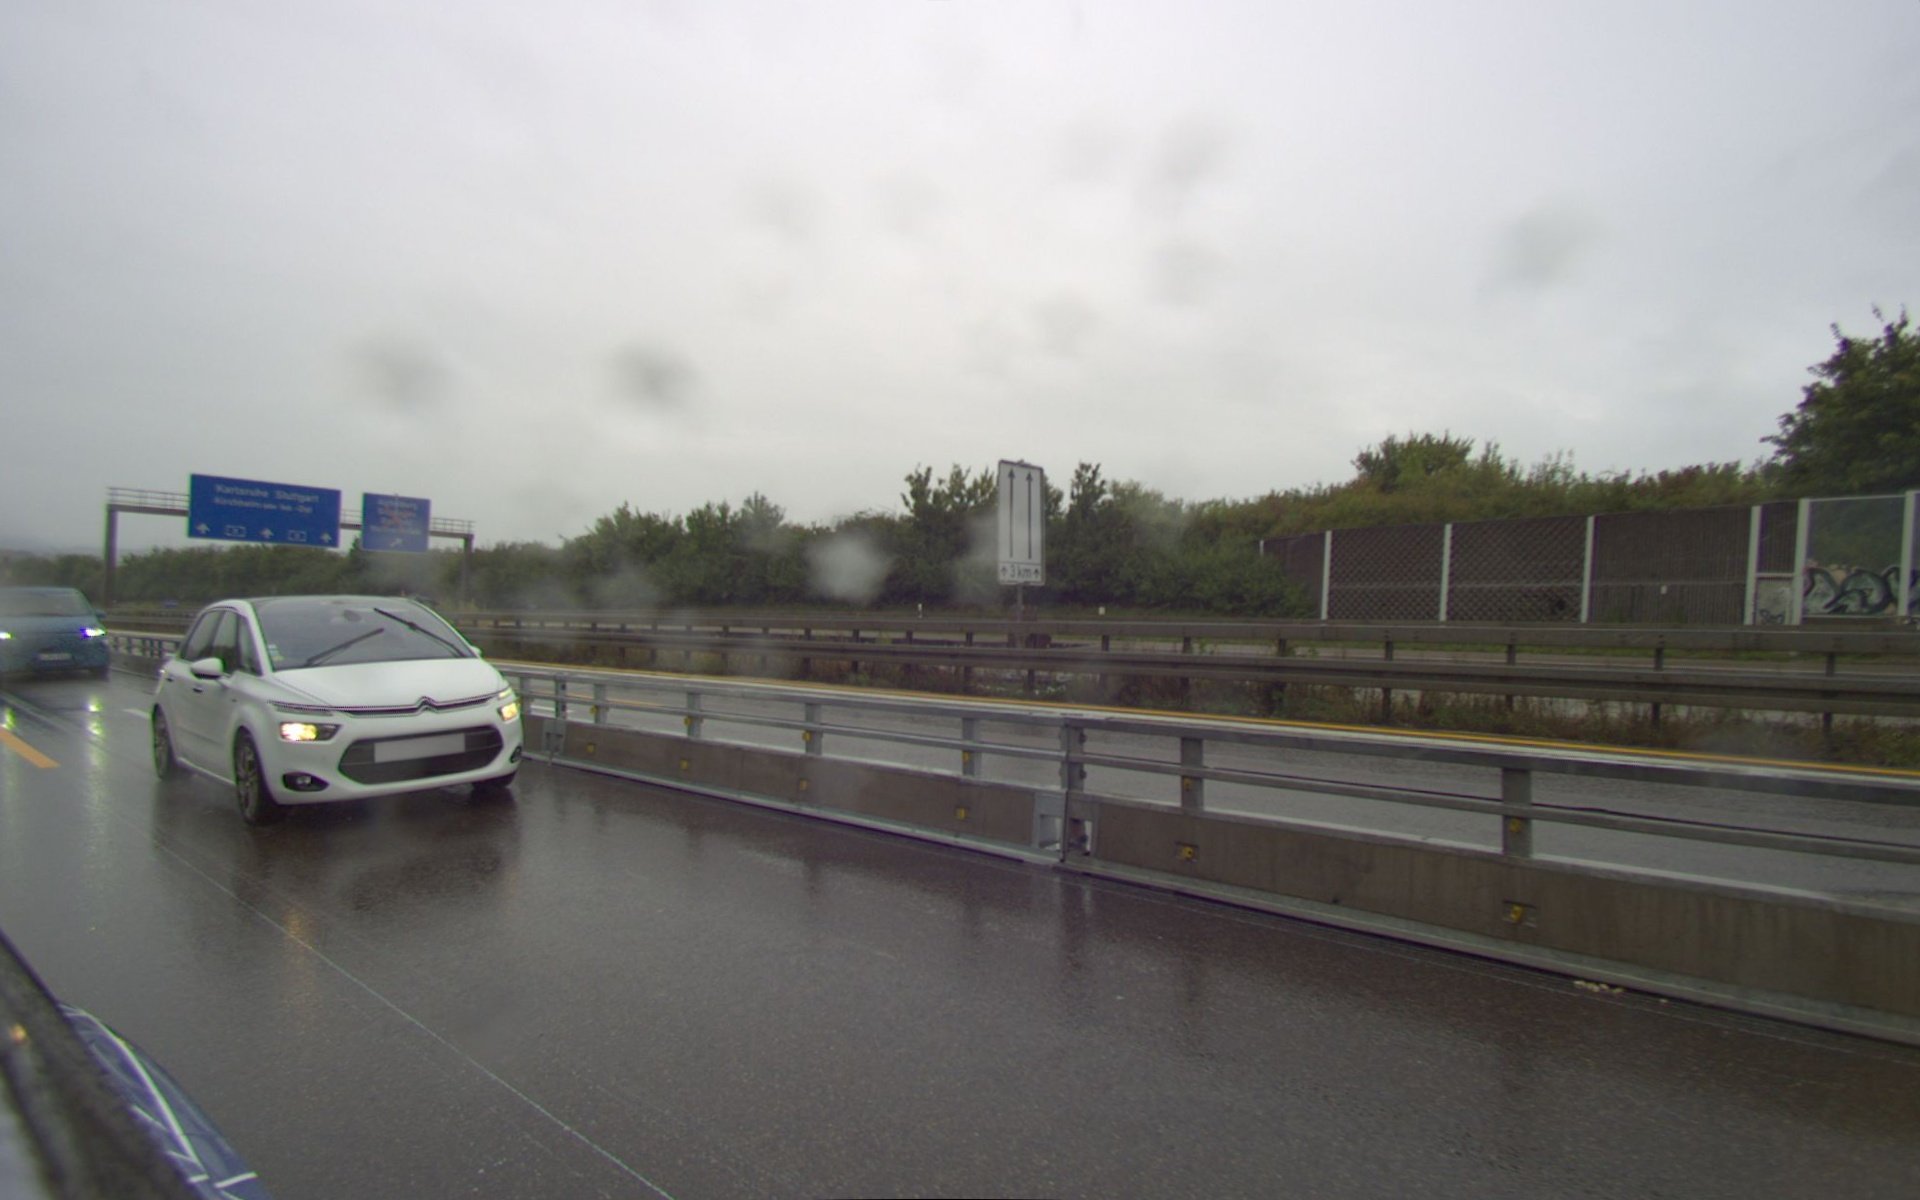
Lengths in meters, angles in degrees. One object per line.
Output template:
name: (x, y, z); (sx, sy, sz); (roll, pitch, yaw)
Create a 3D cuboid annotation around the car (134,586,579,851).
car: (-5.115, 0.757, 8.313); (4.308, 1.608, 1.952); (-2, -1, 42)

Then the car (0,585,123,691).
car: (-20.241, 0.728, 22.056); (5.561, 2.029, 2.183); (0, 1, 41)

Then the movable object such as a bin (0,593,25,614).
movable object such as a bin: (-134.741, 0.493, 142.307); (6.321, 2.819, 3.730); (0, 1, 38)
